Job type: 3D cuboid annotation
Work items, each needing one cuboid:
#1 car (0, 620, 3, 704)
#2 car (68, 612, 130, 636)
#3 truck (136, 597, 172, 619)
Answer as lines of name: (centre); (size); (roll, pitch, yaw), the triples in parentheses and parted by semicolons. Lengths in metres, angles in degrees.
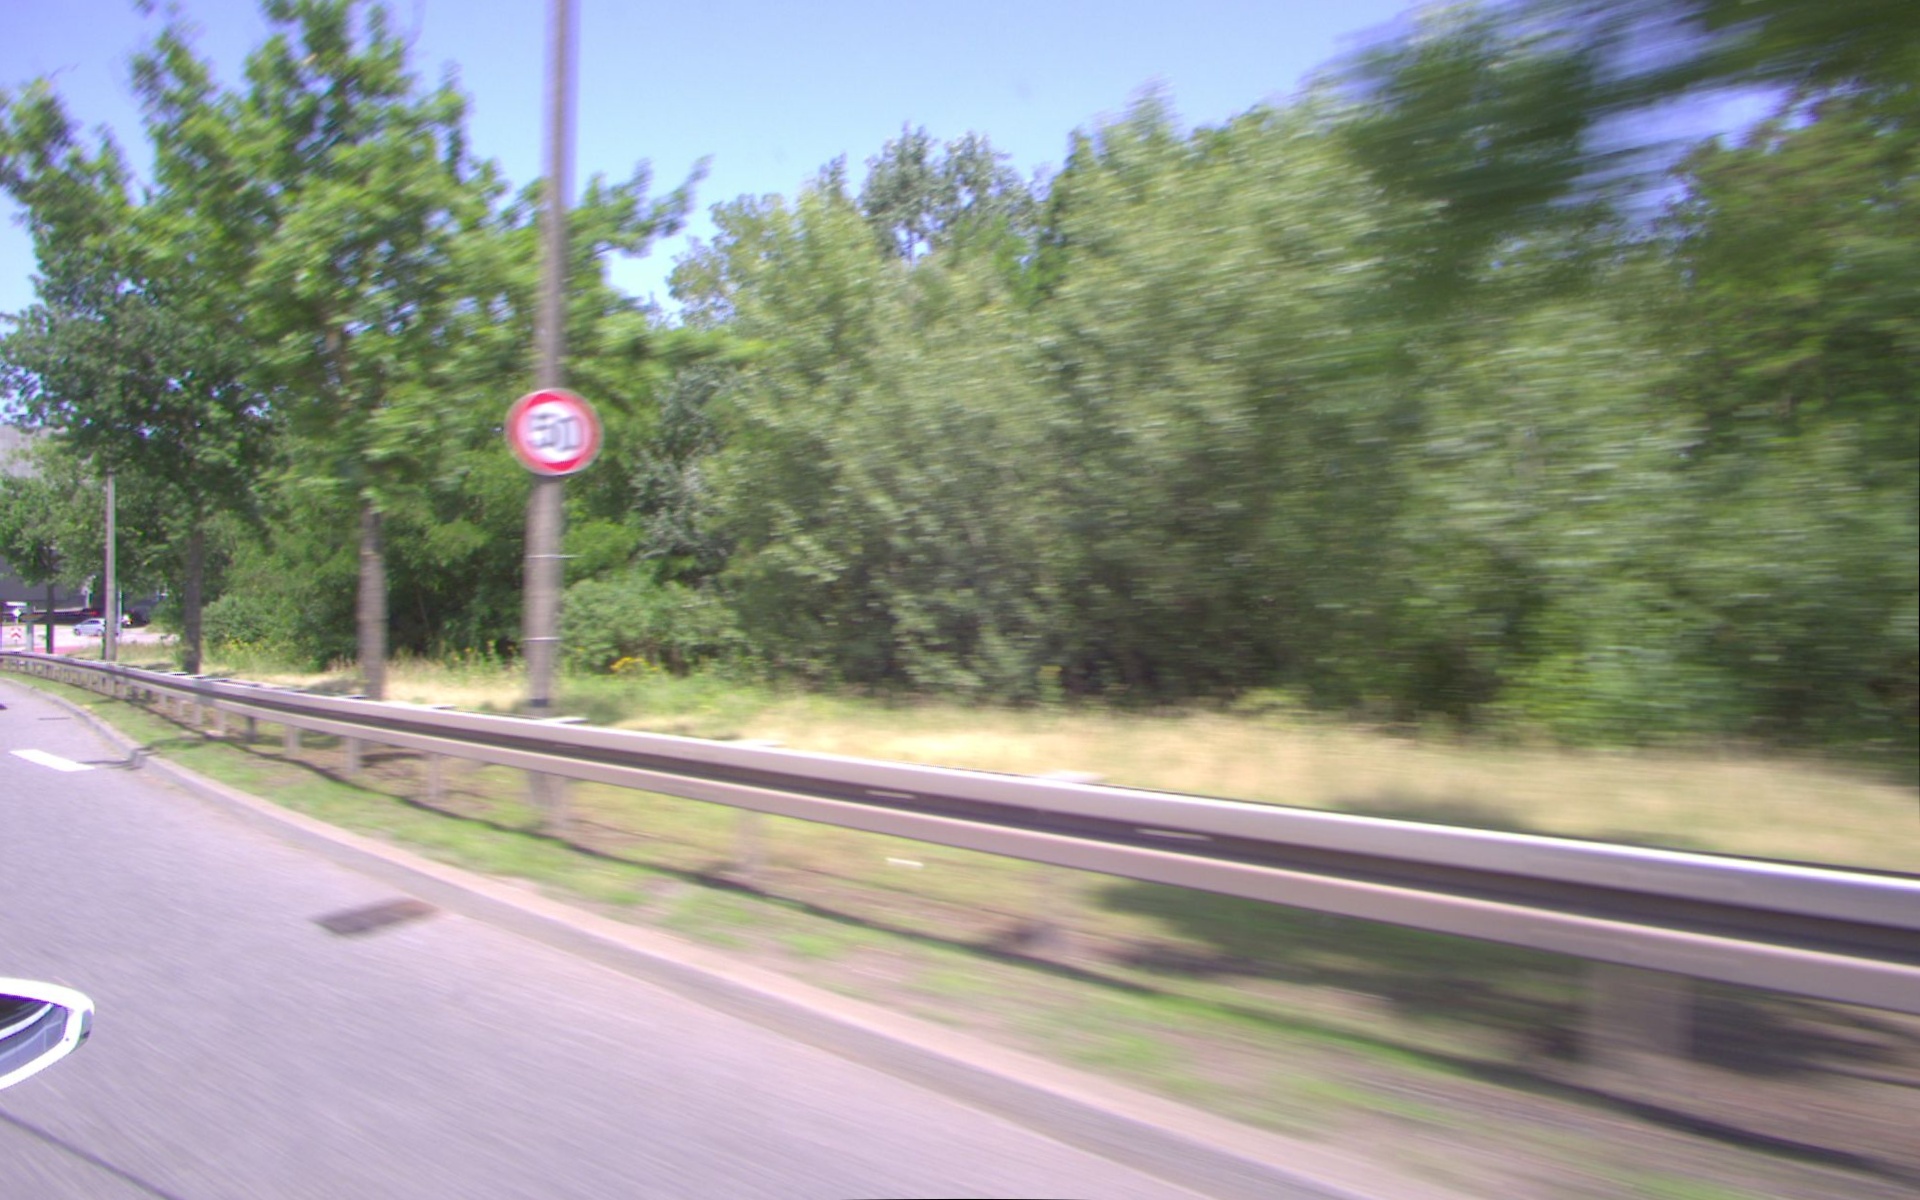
car: (-20.922, 1.225, 20.566); (1.757, 1.619, 4.036); (2, -2, -45)
car: (-74.200, 2.087, 86.315); (3.959, 2.039, 1.982); (2, -2, -42)
truck: (-98.586, 0.972, 122.578); (2.037, 2.571, 3.993); (0, 0, -16)
